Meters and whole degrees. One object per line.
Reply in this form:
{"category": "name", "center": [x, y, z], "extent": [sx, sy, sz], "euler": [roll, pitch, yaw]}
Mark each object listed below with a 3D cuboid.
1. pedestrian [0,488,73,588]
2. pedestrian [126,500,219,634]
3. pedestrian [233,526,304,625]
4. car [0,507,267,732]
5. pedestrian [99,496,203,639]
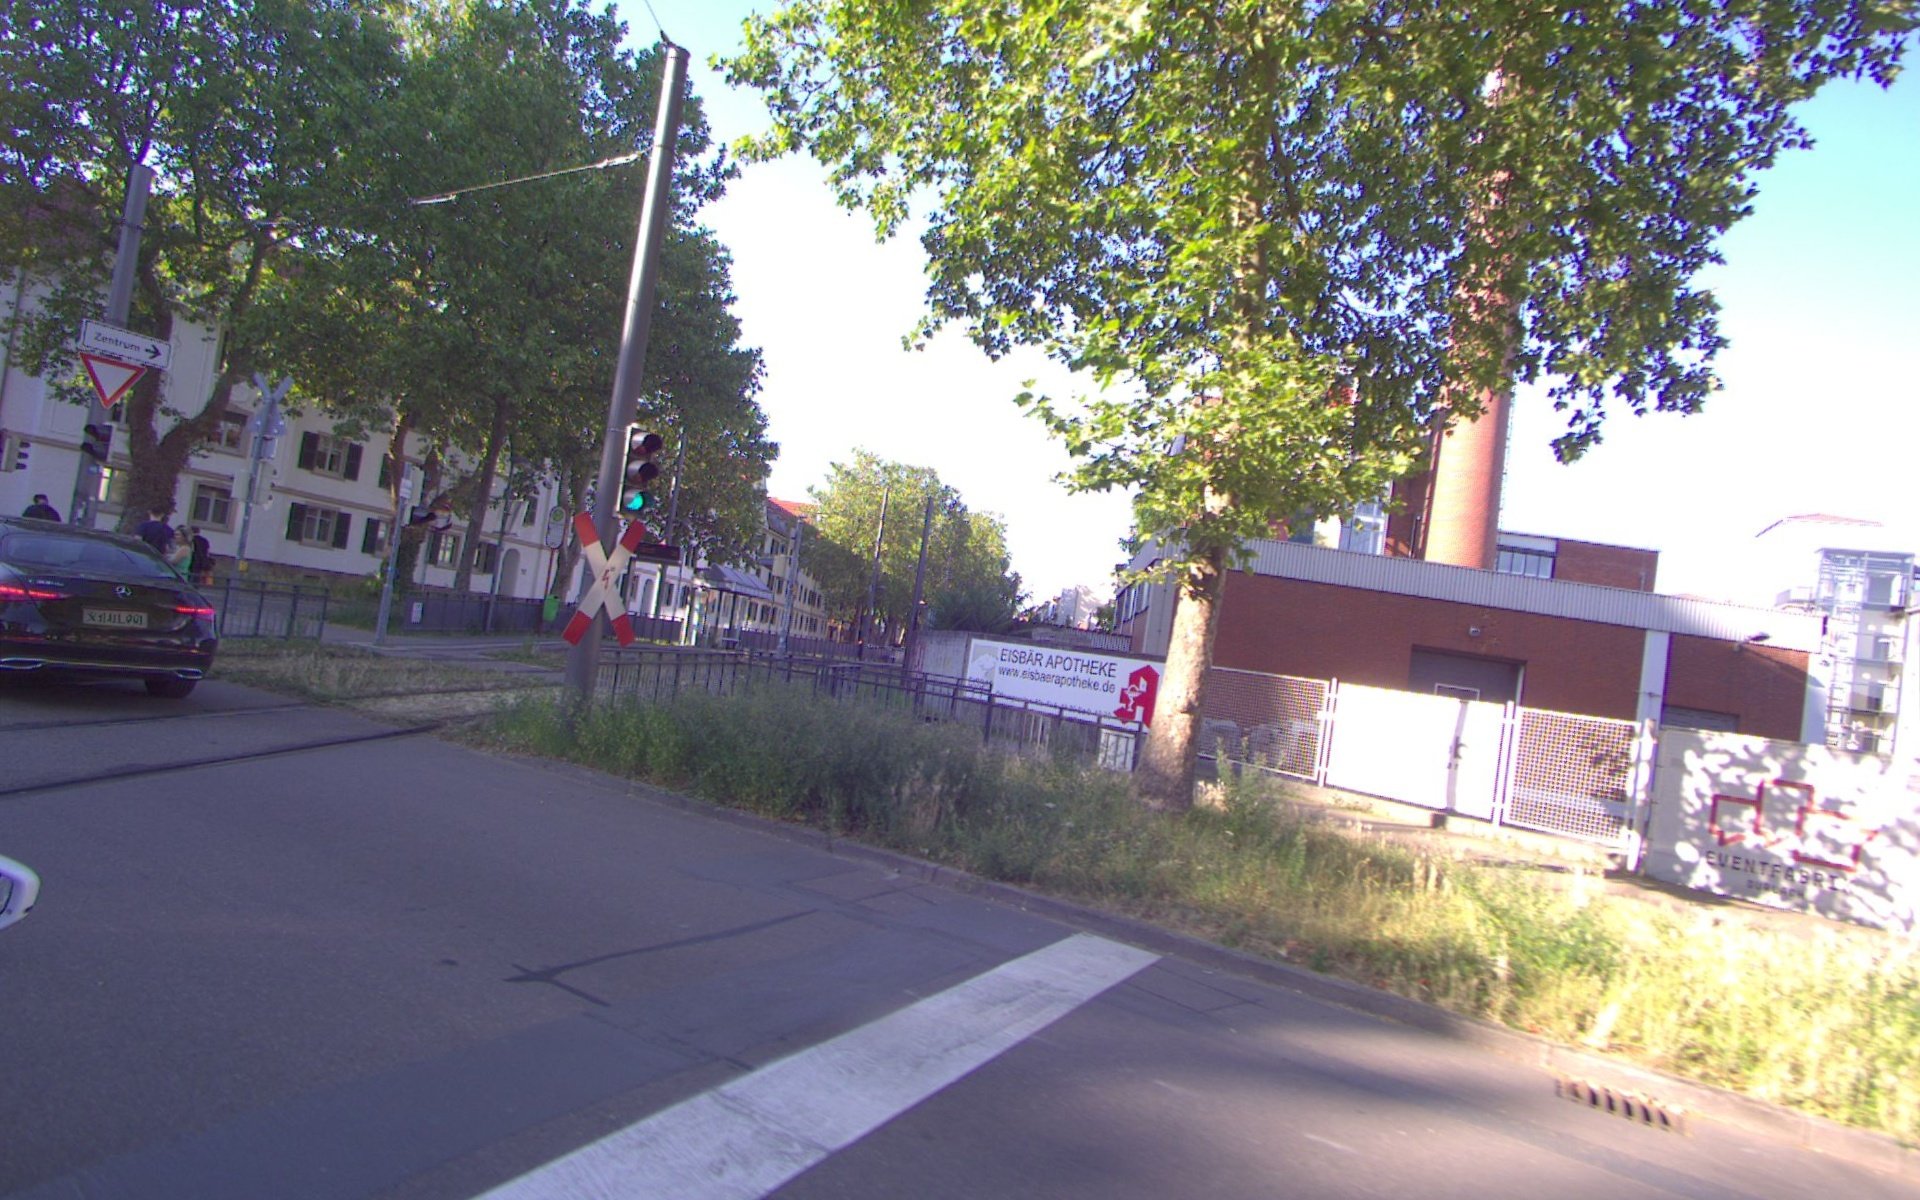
{"category": "pedestrian", "center": [-19.390, -1.291, 21.097], "extent": [0.825, 1.938, 0.707], "euler": [6, -3, 31]}
{"category": "pedestrian", "center": [-12.246, -0.513, 15.655], "extent": [0.695, 1.938, 0.684], "euler": [6, -3, 30]}
{"category": "pedestrian", "center": [-14.531, -0.512, 21.143], "extent": [0.825, 1.938, 0.707], "euler": [6, -3, 31]}
{"category": "car", "center": [-8.571, 0.013, 9.286], "extent": [4.308, 1.506, 1.895], "euler": [9, -3, 32]}
{"category": "pedestrian", "center": [-11.814, -0.463, 14.700], "extent": [0.672, 1.938, 0.708], "euler": [7, -3, 24]}
